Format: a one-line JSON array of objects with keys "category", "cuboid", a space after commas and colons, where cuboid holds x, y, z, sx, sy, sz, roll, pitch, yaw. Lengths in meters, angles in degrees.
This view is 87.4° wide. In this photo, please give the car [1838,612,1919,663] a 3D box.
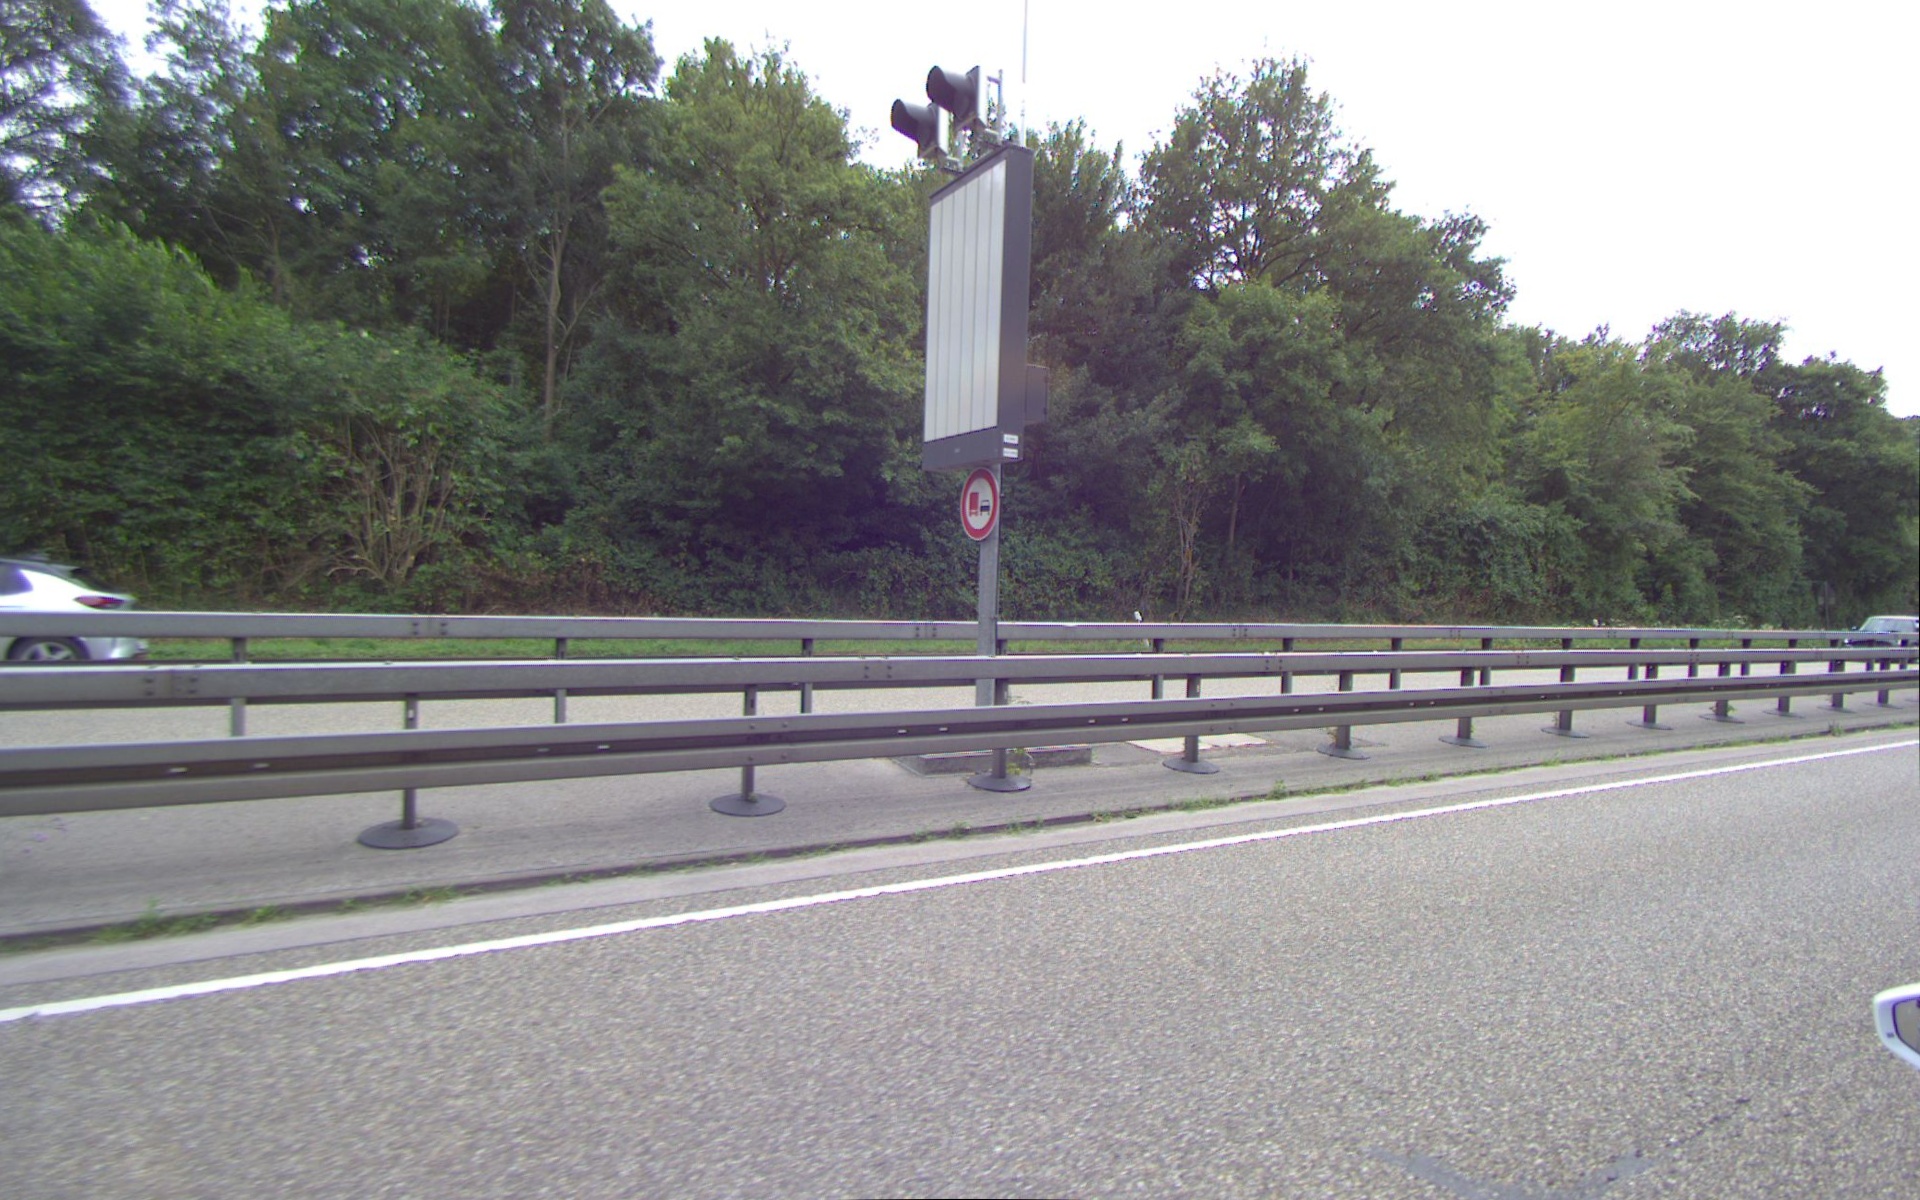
[{"category": "car", "cuboid": [28.555, 1.126, 30.600, 3.733, 1.466, 1.700, 1, -1, -31]}]

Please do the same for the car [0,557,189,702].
[{"category": "car", "cuboid": [-11.057, 0.288, 10.855, 4.085, 1.501, 1.983, 1, -1, -32]}]
